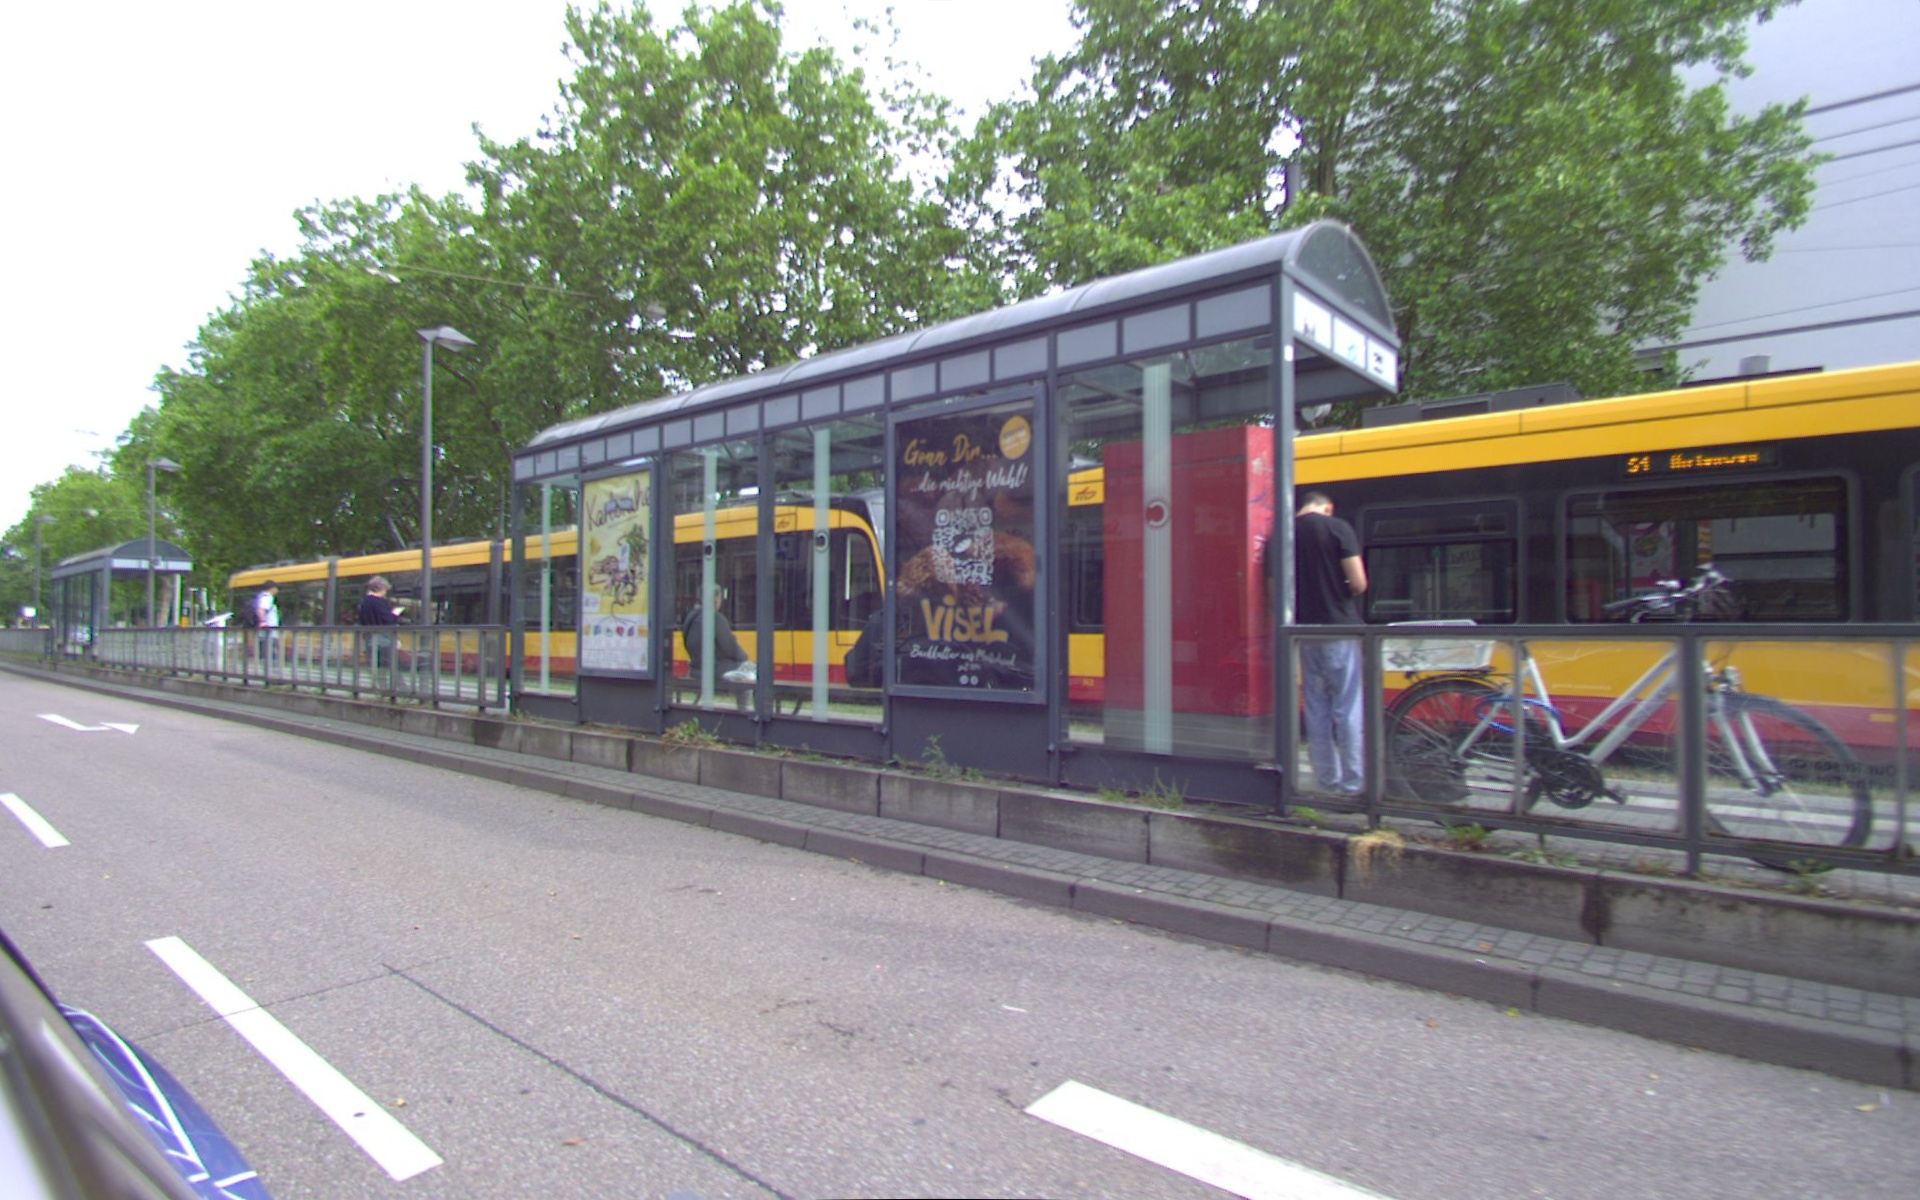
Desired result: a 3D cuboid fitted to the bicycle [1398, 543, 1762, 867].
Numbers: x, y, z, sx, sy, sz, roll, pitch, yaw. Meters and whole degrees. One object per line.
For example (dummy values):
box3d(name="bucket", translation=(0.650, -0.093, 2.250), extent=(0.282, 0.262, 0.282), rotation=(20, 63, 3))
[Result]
box3d(name="bicycle", translation=(2.663, 0.410, 4.426), extent=(1.289, 1.231, 0.414), rotation=(-1, -1, 41))

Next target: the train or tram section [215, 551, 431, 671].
box3d(name="train or tram section", translation=(-22.747, 0.433, 35.630), extent=(12.534, 3.589, 3.060), rotation=(-1, -1, 42))

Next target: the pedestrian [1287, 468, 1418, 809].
box3d(name="pedestrian", translation=(2.037, 0.188, 5.246), extent=(0.471, 1.645, 0.526), rotation=(-1, -1, 39))

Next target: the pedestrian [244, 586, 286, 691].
box3d(name="pedestrian", translation=(-11.104, 0.600, 16.168), extent=(0.392, 1.645, 0.474), rotation=(-2, -1, 42))

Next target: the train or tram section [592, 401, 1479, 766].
box3d(name="train or tram section", translation=(-0.514, -0.027, 16.060), extent=(15.287, 3.558, 3.028), rotation=(-1, -1, 41))

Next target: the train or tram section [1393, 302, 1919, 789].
box3d(name="train or tram section", translation=(10.961, -0.467, 5.940), extent=(15.287, 3.558, 3.028), rotation=(-1, -1, 41))

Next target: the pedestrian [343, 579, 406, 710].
box3d(name="pedestrian", translation=(-7.600, 0.563, 13.131), extent=(0.730, 1.645, 0.506), rotation=(-2, -1, 43))

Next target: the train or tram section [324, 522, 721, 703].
box3d(name="train or tram section", translation=(-12.161, 0.388, 26.307), extent=(15.764, 3.558, 3.028), rotation=(-1, -1, 41))
